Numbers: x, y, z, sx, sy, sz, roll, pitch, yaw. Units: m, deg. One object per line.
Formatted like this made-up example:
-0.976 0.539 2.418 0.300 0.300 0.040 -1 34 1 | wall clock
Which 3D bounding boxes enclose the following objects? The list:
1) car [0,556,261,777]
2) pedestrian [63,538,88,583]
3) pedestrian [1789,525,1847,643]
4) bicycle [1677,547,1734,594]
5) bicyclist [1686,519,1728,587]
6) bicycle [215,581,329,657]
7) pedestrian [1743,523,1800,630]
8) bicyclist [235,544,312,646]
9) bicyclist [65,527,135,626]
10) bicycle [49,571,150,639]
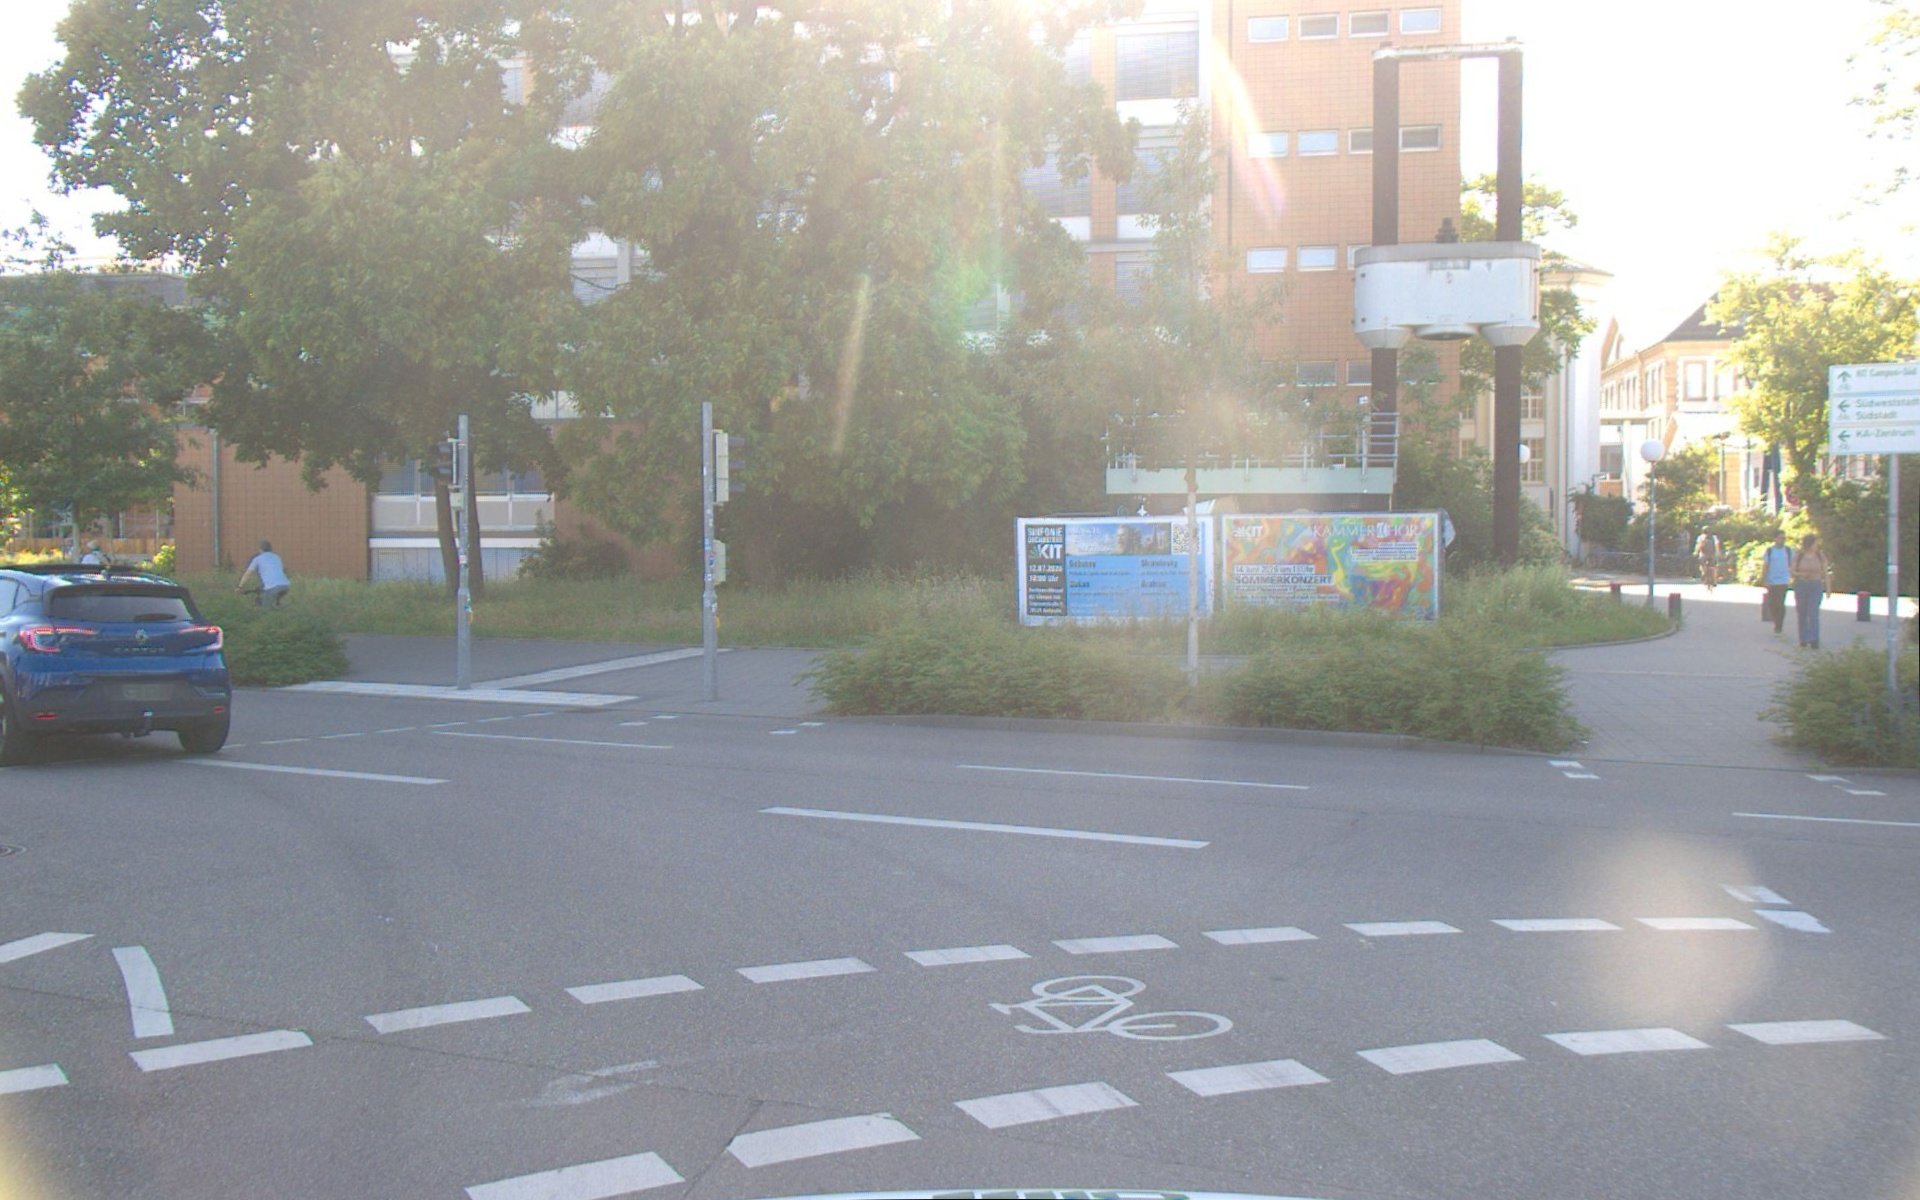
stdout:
-7.915 0.455 14.588 3.732 1.645 1.871 2 3 43 | car
-35.843 -1.593 67.018 0.530 1.782 0.783 4 3 45 | pedestrian
12.494 -0.244 24.089 0.663 1.671 0.735 3 2 29 | pedestrian
19.538 -0.785 43.328 1.856 1.185 0.736 -2 3 -44 | bicycle
19.585 -1.236 43.363 0.970 1.765 0.710 -2 3 -44 | bicyclist
-11.353 0.295 27.276 1.828 1.185 0.718 1 2 27 | bicycle
13.050 -0.381 26.601 0.664 1.671 0.733 3 3 34 | pedestrian
-11.309 -0.102 27.257 0.955 1.645 0.721 1 2 26 | bicyclist
-15.838 -0.440 30.477 0.956 1.793 0.721 1 2 29 | bicyclist
-15.887 0.072 30.520 1.829 1.185 0.747 1 2 29 | bicycle
